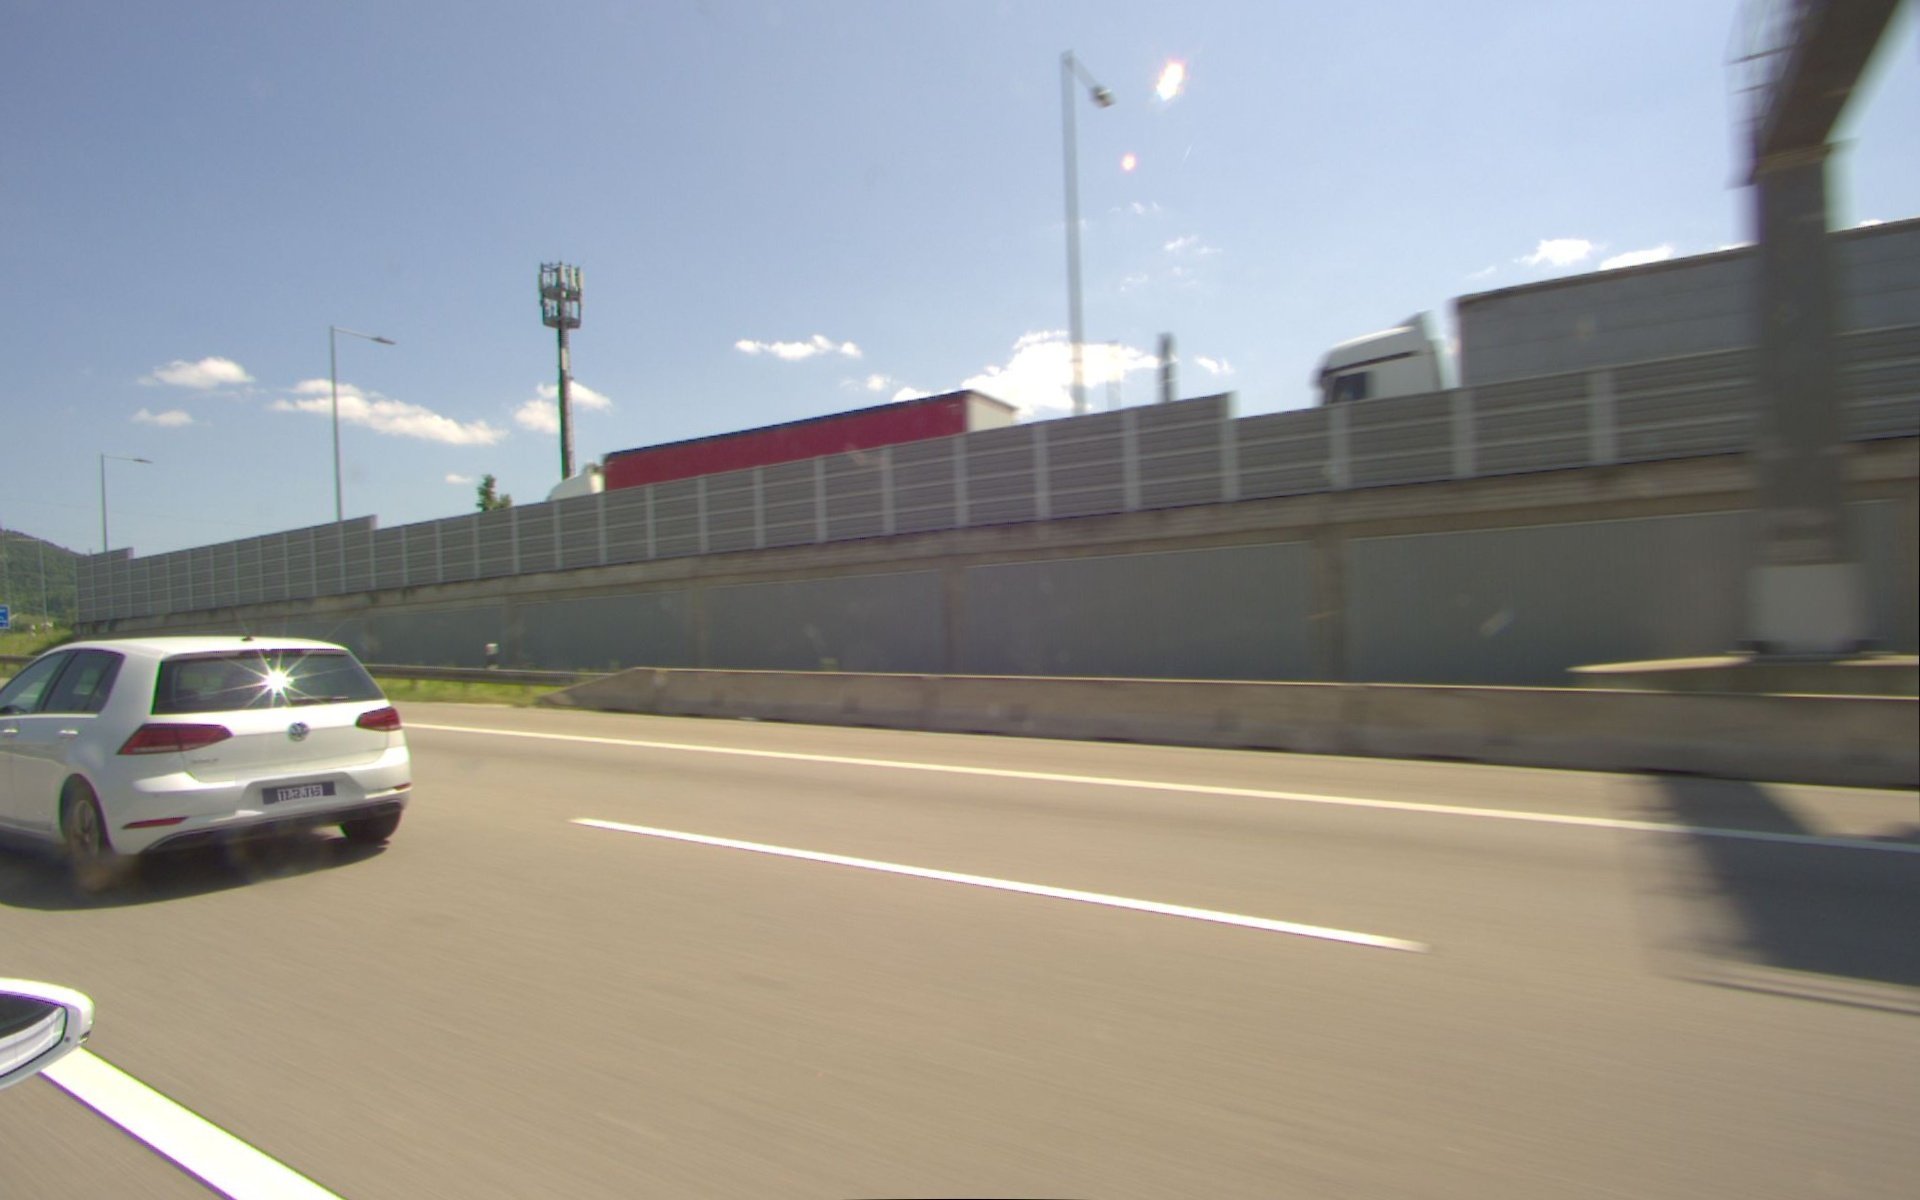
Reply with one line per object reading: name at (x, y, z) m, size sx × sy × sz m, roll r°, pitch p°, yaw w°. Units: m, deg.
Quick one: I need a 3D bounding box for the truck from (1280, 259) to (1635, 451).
truck at (9.743, -4.615, 19.956) m, size 5.949 × 2.258 × 2.720 m, roll -2°, pitch -2°, yaw 31°

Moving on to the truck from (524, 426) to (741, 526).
truck at (-10.690, -3.869, 32.477) m, size 7.182 × 2.232 × 2.704 m, roll -2°, pitch -2°, yaw 31°

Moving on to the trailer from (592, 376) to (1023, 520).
trailer at (-4.936, -4.070, 28.971) m, size 13.817 × 2.252 × 2.716 m, roll -2°, pitch -2°, yaw 31°

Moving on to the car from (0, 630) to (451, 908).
car at (-5.848, 0.978, 7.245) m, size 4.625 × 1.451 × 1.773 m, roll -2°, pitch -2°, yaw 32°

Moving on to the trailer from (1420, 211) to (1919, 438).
trailer at (15.544, -4.808, 16.438) m, size 14.317 × 2.252 × 2.716 m, roll -2°, pitch -2°, yaw 31°
